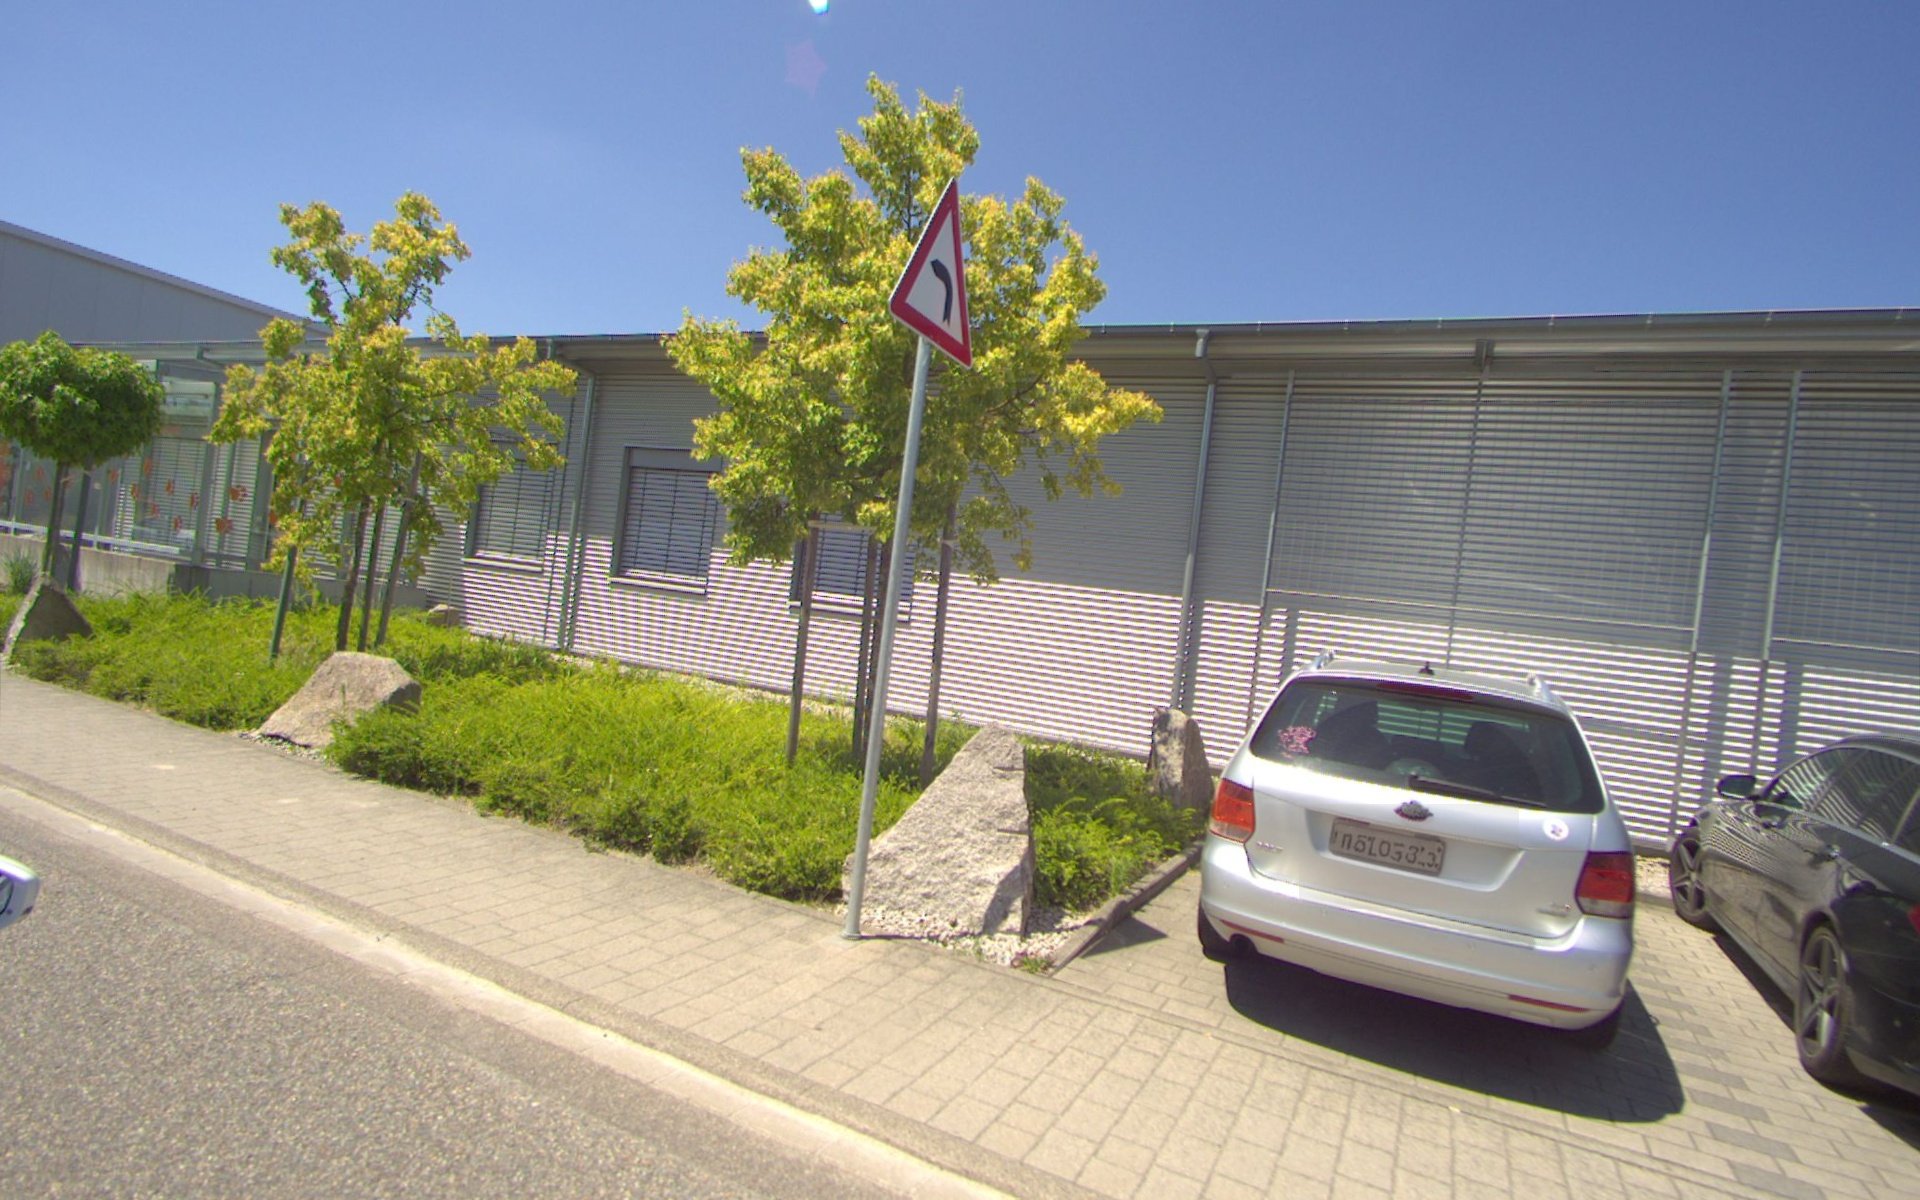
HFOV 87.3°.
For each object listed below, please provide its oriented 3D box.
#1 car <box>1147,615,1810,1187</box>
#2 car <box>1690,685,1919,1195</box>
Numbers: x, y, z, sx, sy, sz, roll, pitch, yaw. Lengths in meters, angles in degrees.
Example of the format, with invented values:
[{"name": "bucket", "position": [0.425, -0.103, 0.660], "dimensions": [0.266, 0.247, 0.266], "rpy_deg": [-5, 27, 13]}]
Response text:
[{"name": "car", "position": [2.505, 1.045, 5.439], "dimensions": [1.878, 1.560, 4.291], "rpy_deg": [7, 0, 24]}, {"name": "car", "position": [4.741, 1.303, 4.360], "dimensions": [1.880, 1.560, 3.699], "rpy_deg": [7, 0, 28]}]
